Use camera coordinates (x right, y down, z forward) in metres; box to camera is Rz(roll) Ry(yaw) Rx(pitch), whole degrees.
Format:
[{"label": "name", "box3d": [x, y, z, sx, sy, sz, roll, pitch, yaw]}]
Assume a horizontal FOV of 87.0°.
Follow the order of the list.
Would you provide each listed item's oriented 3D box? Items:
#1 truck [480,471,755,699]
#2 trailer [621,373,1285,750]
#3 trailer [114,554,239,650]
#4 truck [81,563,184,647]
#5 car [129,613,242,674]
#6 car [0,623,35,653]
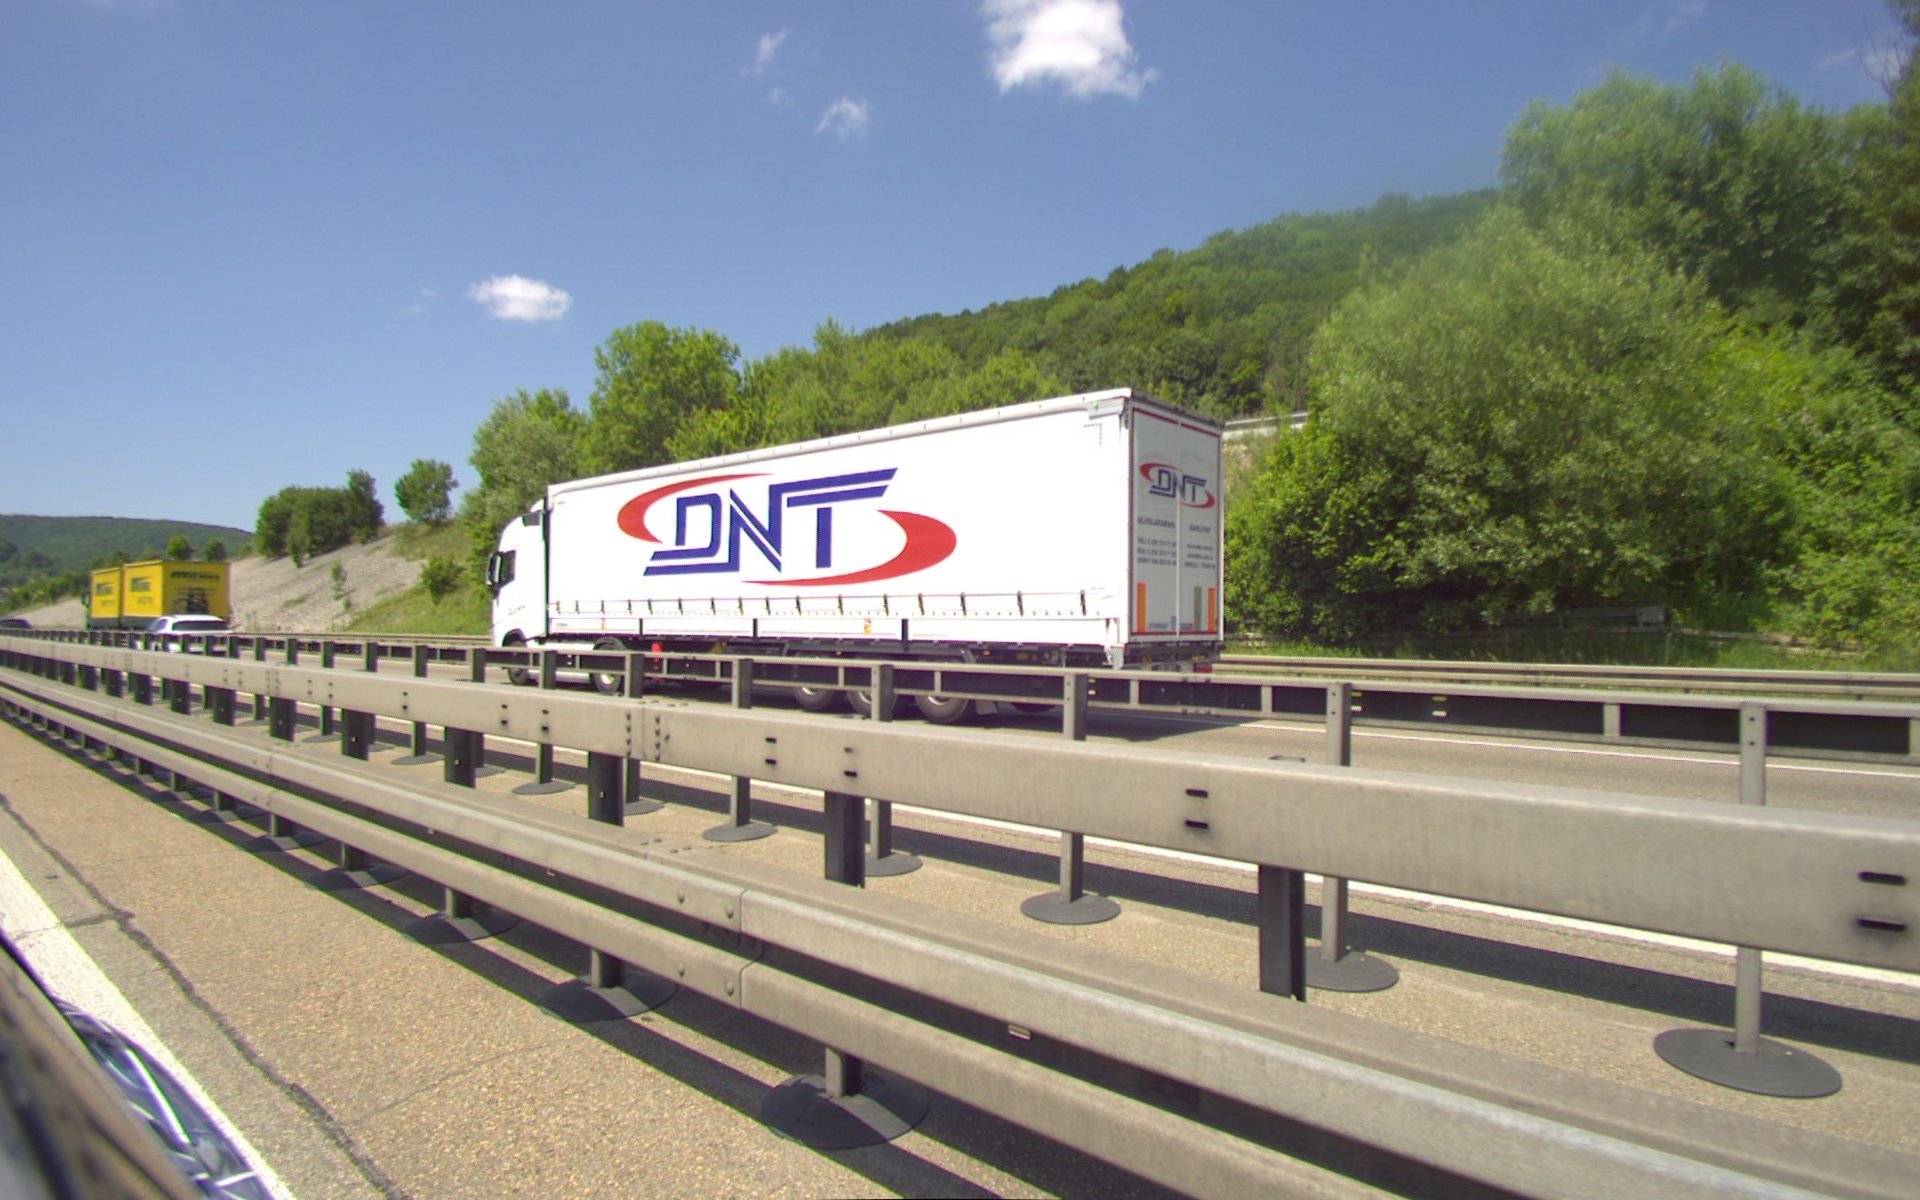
[{"label": "truck", "box3d": [-7.300, -0.184, 21.295, 5.845, 4.133, 2.879, -1, -3, 41]}, {"label": "trailer", "box3d": [-0.951, -0.308, 15.766, 11.256, 4.107, 2.827, -1, -2, 41]}, {"label": "trailer", "box3d": [-37.463, 0.154, 48.205, 10.400, 4.178, 2.797, -1, 0, 41]}, {"label": "truck", "box3d": [-44.963, 0.301, 54.851, 9.611, 4.178, 2.797, -1, 0, 41]}, {"label": "car", "box3d": [-21.425, 1.152, 27.953, 3.998, 1.530, 1.729, -1, 0, 41]}, {"label": "car", "box3d": [-52.315, 2.059, 55.413, 4.747, 1.608, 1.827, -2, -2, 40]}]
